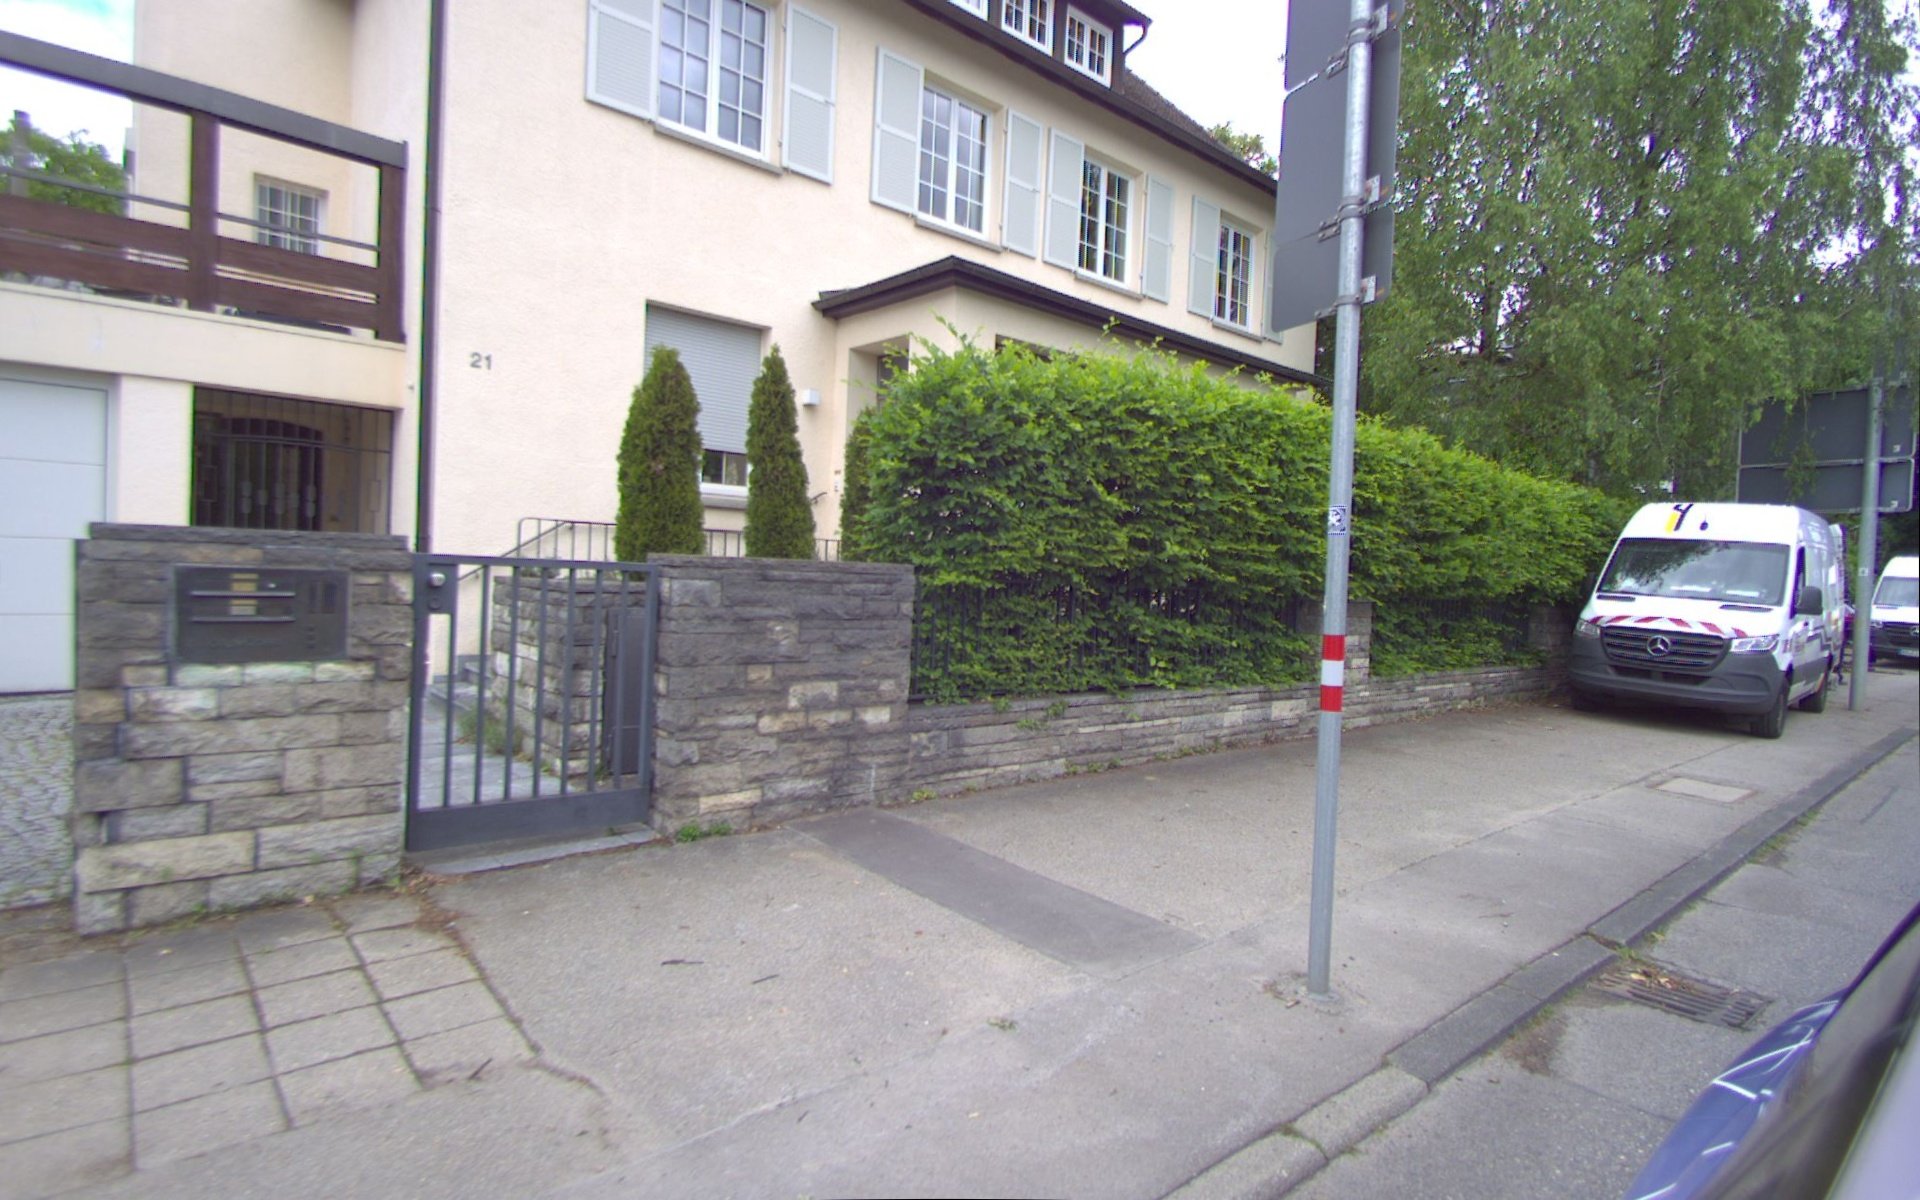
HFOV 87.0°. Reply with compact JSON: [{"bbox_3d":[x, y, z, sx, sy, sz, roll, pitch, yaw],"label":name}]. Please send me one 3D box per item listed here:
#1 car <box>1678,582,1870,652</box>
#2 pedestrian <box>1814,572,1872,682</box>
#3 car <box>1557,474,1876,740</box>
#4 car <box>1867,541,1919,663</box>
[{"bbox_3d":[23.269,0.419,29.045,1.827,1.749,3.995,1,2,-41],"label":"car"},{"bbox_3d":[15.500,0.456,17.761,0.774,1.853,0.639,1,2,-44],"label":"pedestrian"},{"bbox_3d":[9.996,0.010,13.065,6.570,2.636,2.093,0,4,-44],"label":"car"},{"bbox_3d":[23.414,0.080,23.996,5.863,2.634,2.046,0,3,-41],"label":"car"}]
